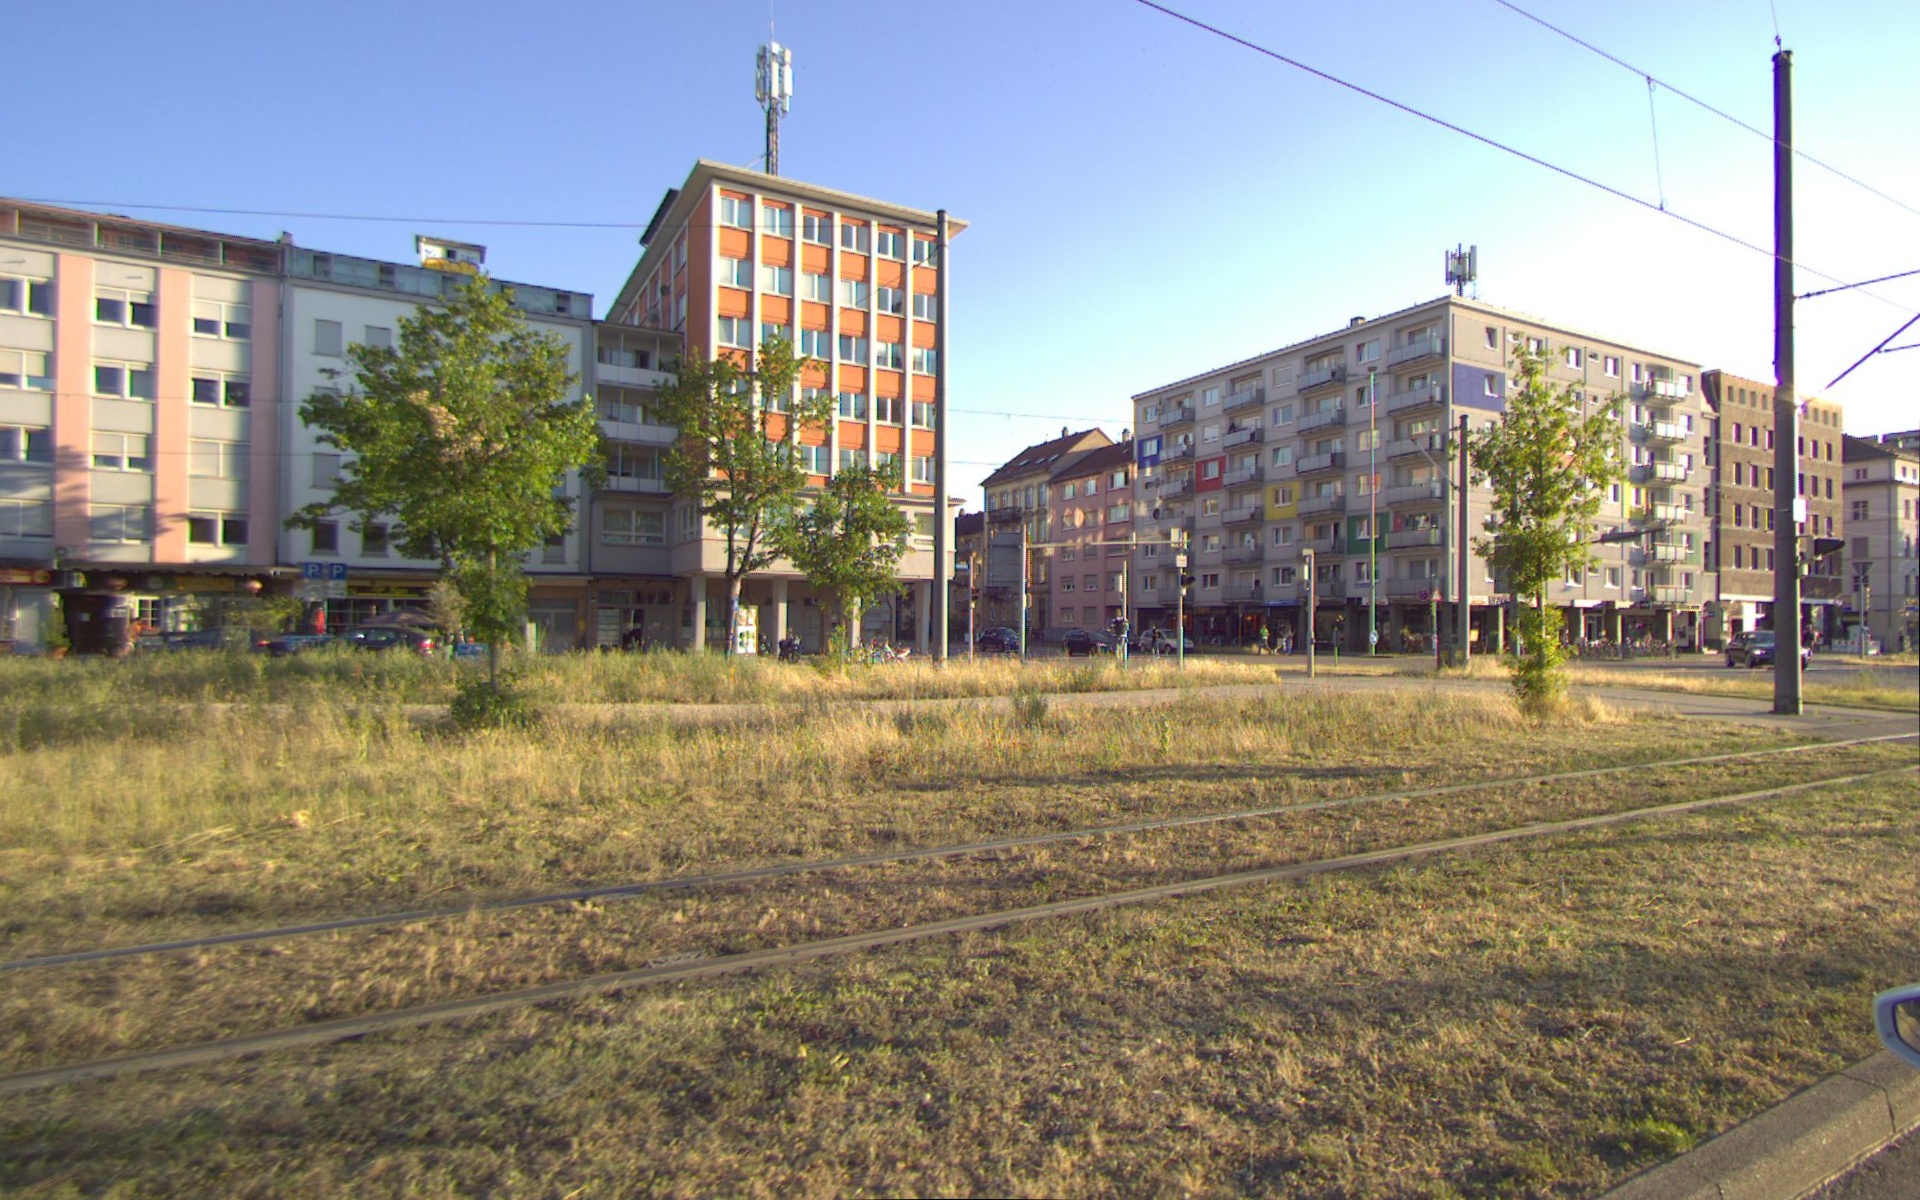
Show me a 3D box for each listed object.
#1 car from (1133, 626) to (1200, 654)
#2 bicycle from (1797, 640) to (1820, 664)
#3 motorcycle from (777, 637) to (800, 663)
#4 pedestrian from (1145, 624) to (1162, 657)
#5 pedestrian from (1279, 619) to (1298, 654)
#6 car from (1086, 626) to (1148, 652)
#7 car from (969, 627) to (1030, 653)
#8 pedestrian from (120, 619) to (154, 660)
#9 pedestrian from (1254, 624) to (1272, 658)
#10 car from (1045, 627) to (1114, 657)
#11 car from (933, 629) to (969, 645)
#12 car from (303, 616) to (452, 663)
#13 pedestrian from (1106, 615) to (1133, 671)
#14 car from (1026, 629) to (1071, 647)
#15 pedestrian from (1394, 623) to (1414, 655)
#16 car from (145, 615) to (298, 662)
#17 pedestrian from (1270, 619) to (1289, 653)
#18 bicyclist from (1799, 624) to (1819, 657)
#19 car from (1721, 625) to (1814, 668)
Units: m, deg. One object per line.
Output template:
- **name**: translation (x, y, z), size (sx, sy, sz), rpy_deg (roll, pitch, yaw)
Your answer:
- **car**: translation (12.436, 2.375, 60.654), size (1.785, 1.606, 3.841), rpy_deg (0, -1, -34)
- **bicycle**: translation (39.071, 2.378, 46.243), size (0.694, 0.983, 1.723), rpy_deg (2, 3, 43)
- **motorcycle**: translation (-7.508, 2.163, 43.878), size (0.525, 1.082, 1.443), rpy_deg (0, -1, -30)
- **pedestrian**: translation (9.787, 2.056, 50.807), size (0.608, 1.651, 0.512), rpy_deg (0, -1, -29)
- **pedestrian**: translation (17.926, 1.983, 54.787), size (0.812, 1.872, 0.600), rpy_deg (0, -1, -29)
- **car**: translation (10.038, 2.474, 64.368), size (1.785, 1.606, 3.841), rpy_deg (0, -1, -34)
- **car**: translation (2.610, 2.619, 66.883), size (1.968, 1.606, 4.254), rpy_deg (0, -1, -34)
- **pedestrian**: translation (-31.787, 1.504, 38.823), size (0.844, 1.548, 1.112), rpy_deg (0, -1, -31)
- **pedestrian**: translation (16.877, 2.299, 55.920), size (0.673, 1.872, 0.630), rpy_deg (0, -1, -29)
- **car**: translation (6.698, 2.324, 56.530), size (1.785, 1.606, 3.841), rpy_deg (0, -1, -34)
- **car**: translation (-0.890, 3.699, 101.093), size (1.785, 1.606, 3.841), rpy_deg (0, -1, -34)
- **car**: translation (-20.581, 1.389, 35.639), size (4.212, 1.547, 1.758), rpy_deg (-1, -1, -7)
- **pedestrian**: translation (5.174, 1.391, 32.588), size (0.638, 1.786, 0.721), rpy_deg (-1, -1, -8)
- **car**: translation (7.902, 3.387, 89.971), size (1.785, 1.606, 4.260), rpy_deg (0, -1, -34)
- **pedestrian**: translation (24.177, 2.134, 54.746), size (0.767, 1.692, 0.741), rpy_deg (-1, -1, 4)
- **car**: translation (-25.716, 1.328, 35.101), size (3.925, 1.547, 1.758), rpy_deg (-1, -1, -7)
- **pedestrian**: translation (17.642, 1.994, 55.476), size (0.728, 1.876, 0.702), rpy_deg (0, -1, -29)
- **bicyclist**: translation (39.075, 1.853, 46.225), size (0.654, 1.462, 0.851), rpy_deg (2, 2, 44)
- **car**: translation (31.114, 1.744, 38.816), size (1.685, 1.453, 3.998), rpy_deg (0, 0, 22)
